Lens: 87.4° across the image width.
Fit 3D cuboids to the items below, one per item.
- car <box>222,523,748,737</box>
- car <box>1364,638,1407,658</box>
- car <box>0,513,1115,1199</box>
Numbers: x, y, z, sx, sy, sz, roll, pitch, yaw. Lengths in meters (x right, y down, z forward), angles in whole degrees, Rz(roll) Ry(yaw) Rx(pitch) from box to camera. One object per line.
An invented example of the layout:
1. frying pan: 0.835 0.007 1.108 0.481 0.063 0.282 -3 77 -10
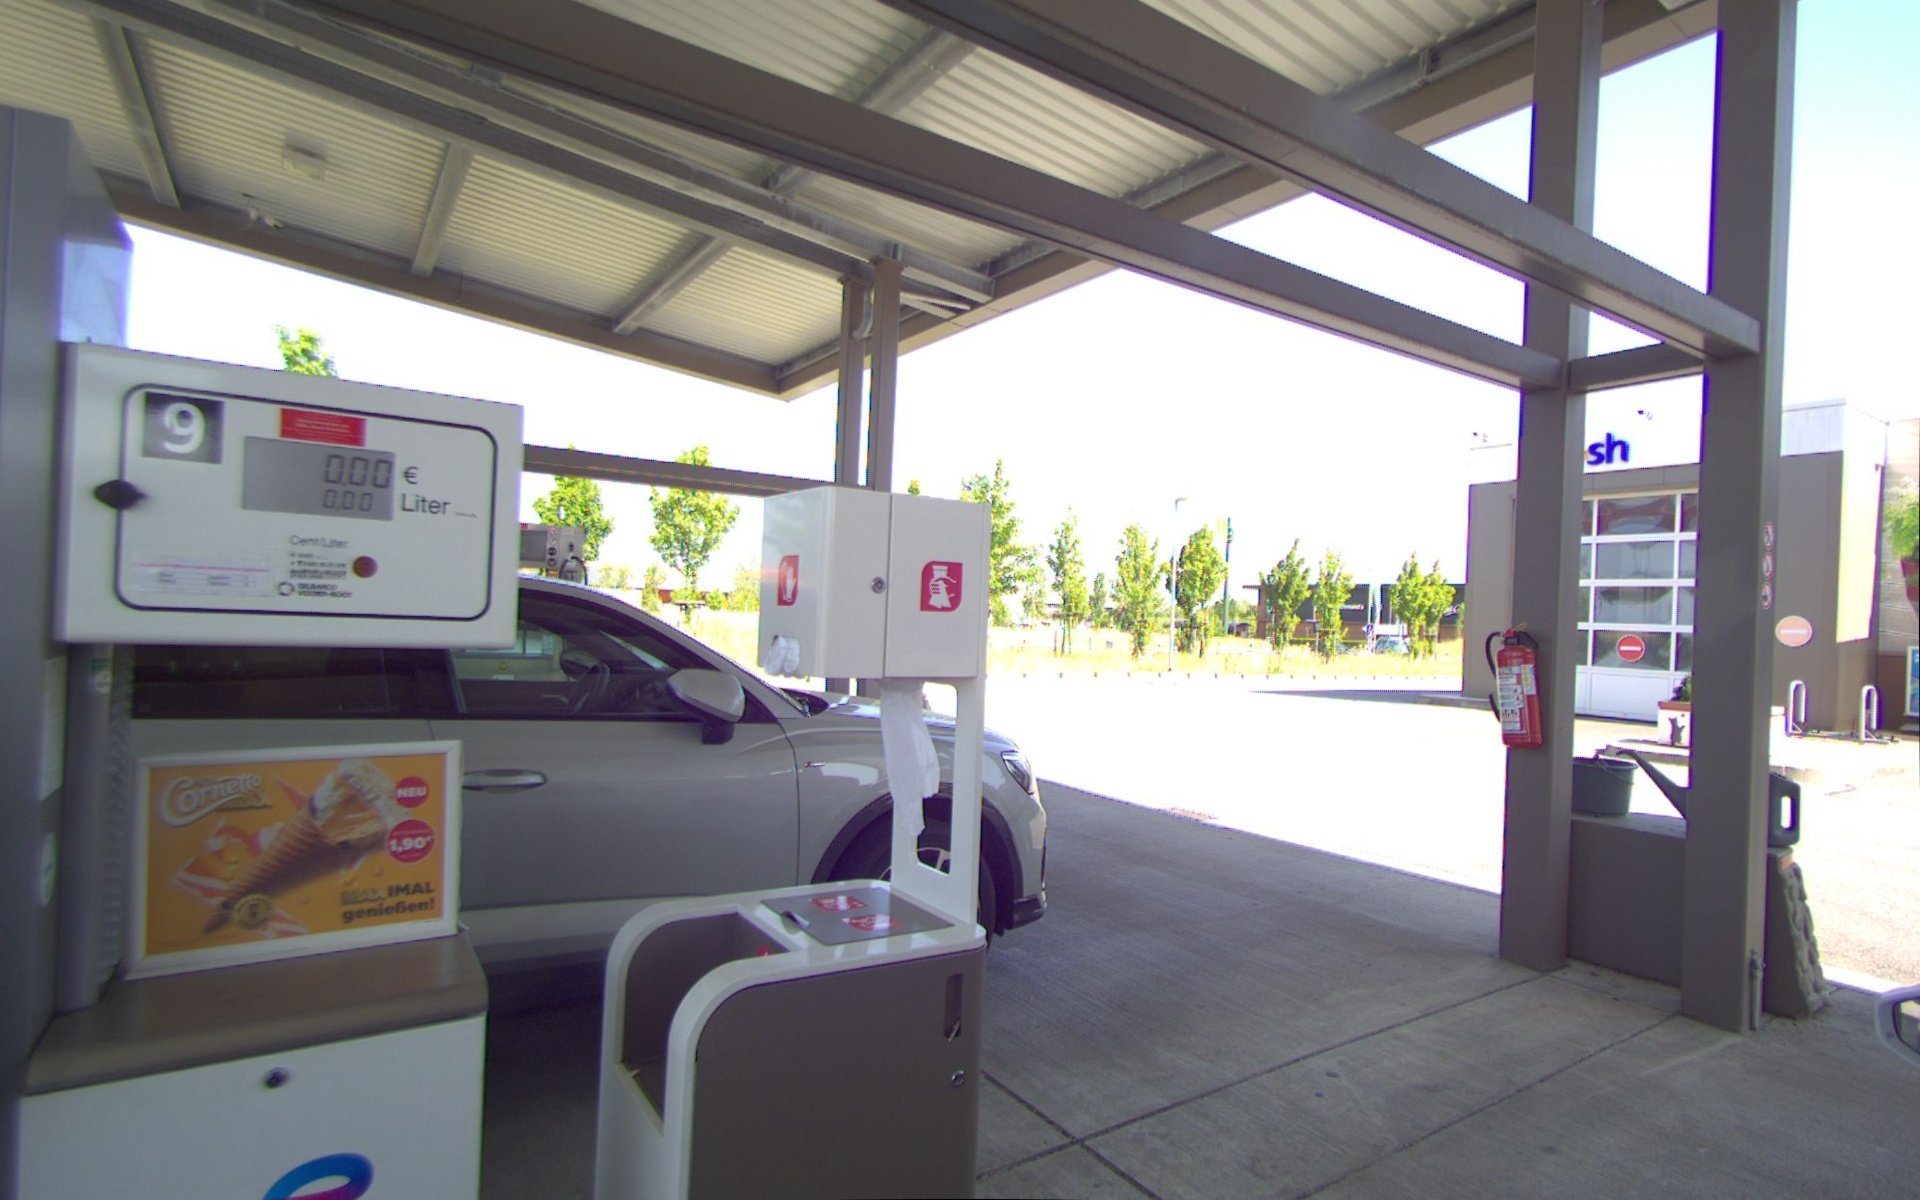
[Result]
1. car: -4.628 0.306 10.144 4.495 1.710 1.845 2 -1 -38
2. car: 37.009 4.182 87.366 3.968 1.617 1.782 2 -1 -40
3. car: -1.666 0.625 3.518 4.280 1.562 1.770 2 -1 -33
